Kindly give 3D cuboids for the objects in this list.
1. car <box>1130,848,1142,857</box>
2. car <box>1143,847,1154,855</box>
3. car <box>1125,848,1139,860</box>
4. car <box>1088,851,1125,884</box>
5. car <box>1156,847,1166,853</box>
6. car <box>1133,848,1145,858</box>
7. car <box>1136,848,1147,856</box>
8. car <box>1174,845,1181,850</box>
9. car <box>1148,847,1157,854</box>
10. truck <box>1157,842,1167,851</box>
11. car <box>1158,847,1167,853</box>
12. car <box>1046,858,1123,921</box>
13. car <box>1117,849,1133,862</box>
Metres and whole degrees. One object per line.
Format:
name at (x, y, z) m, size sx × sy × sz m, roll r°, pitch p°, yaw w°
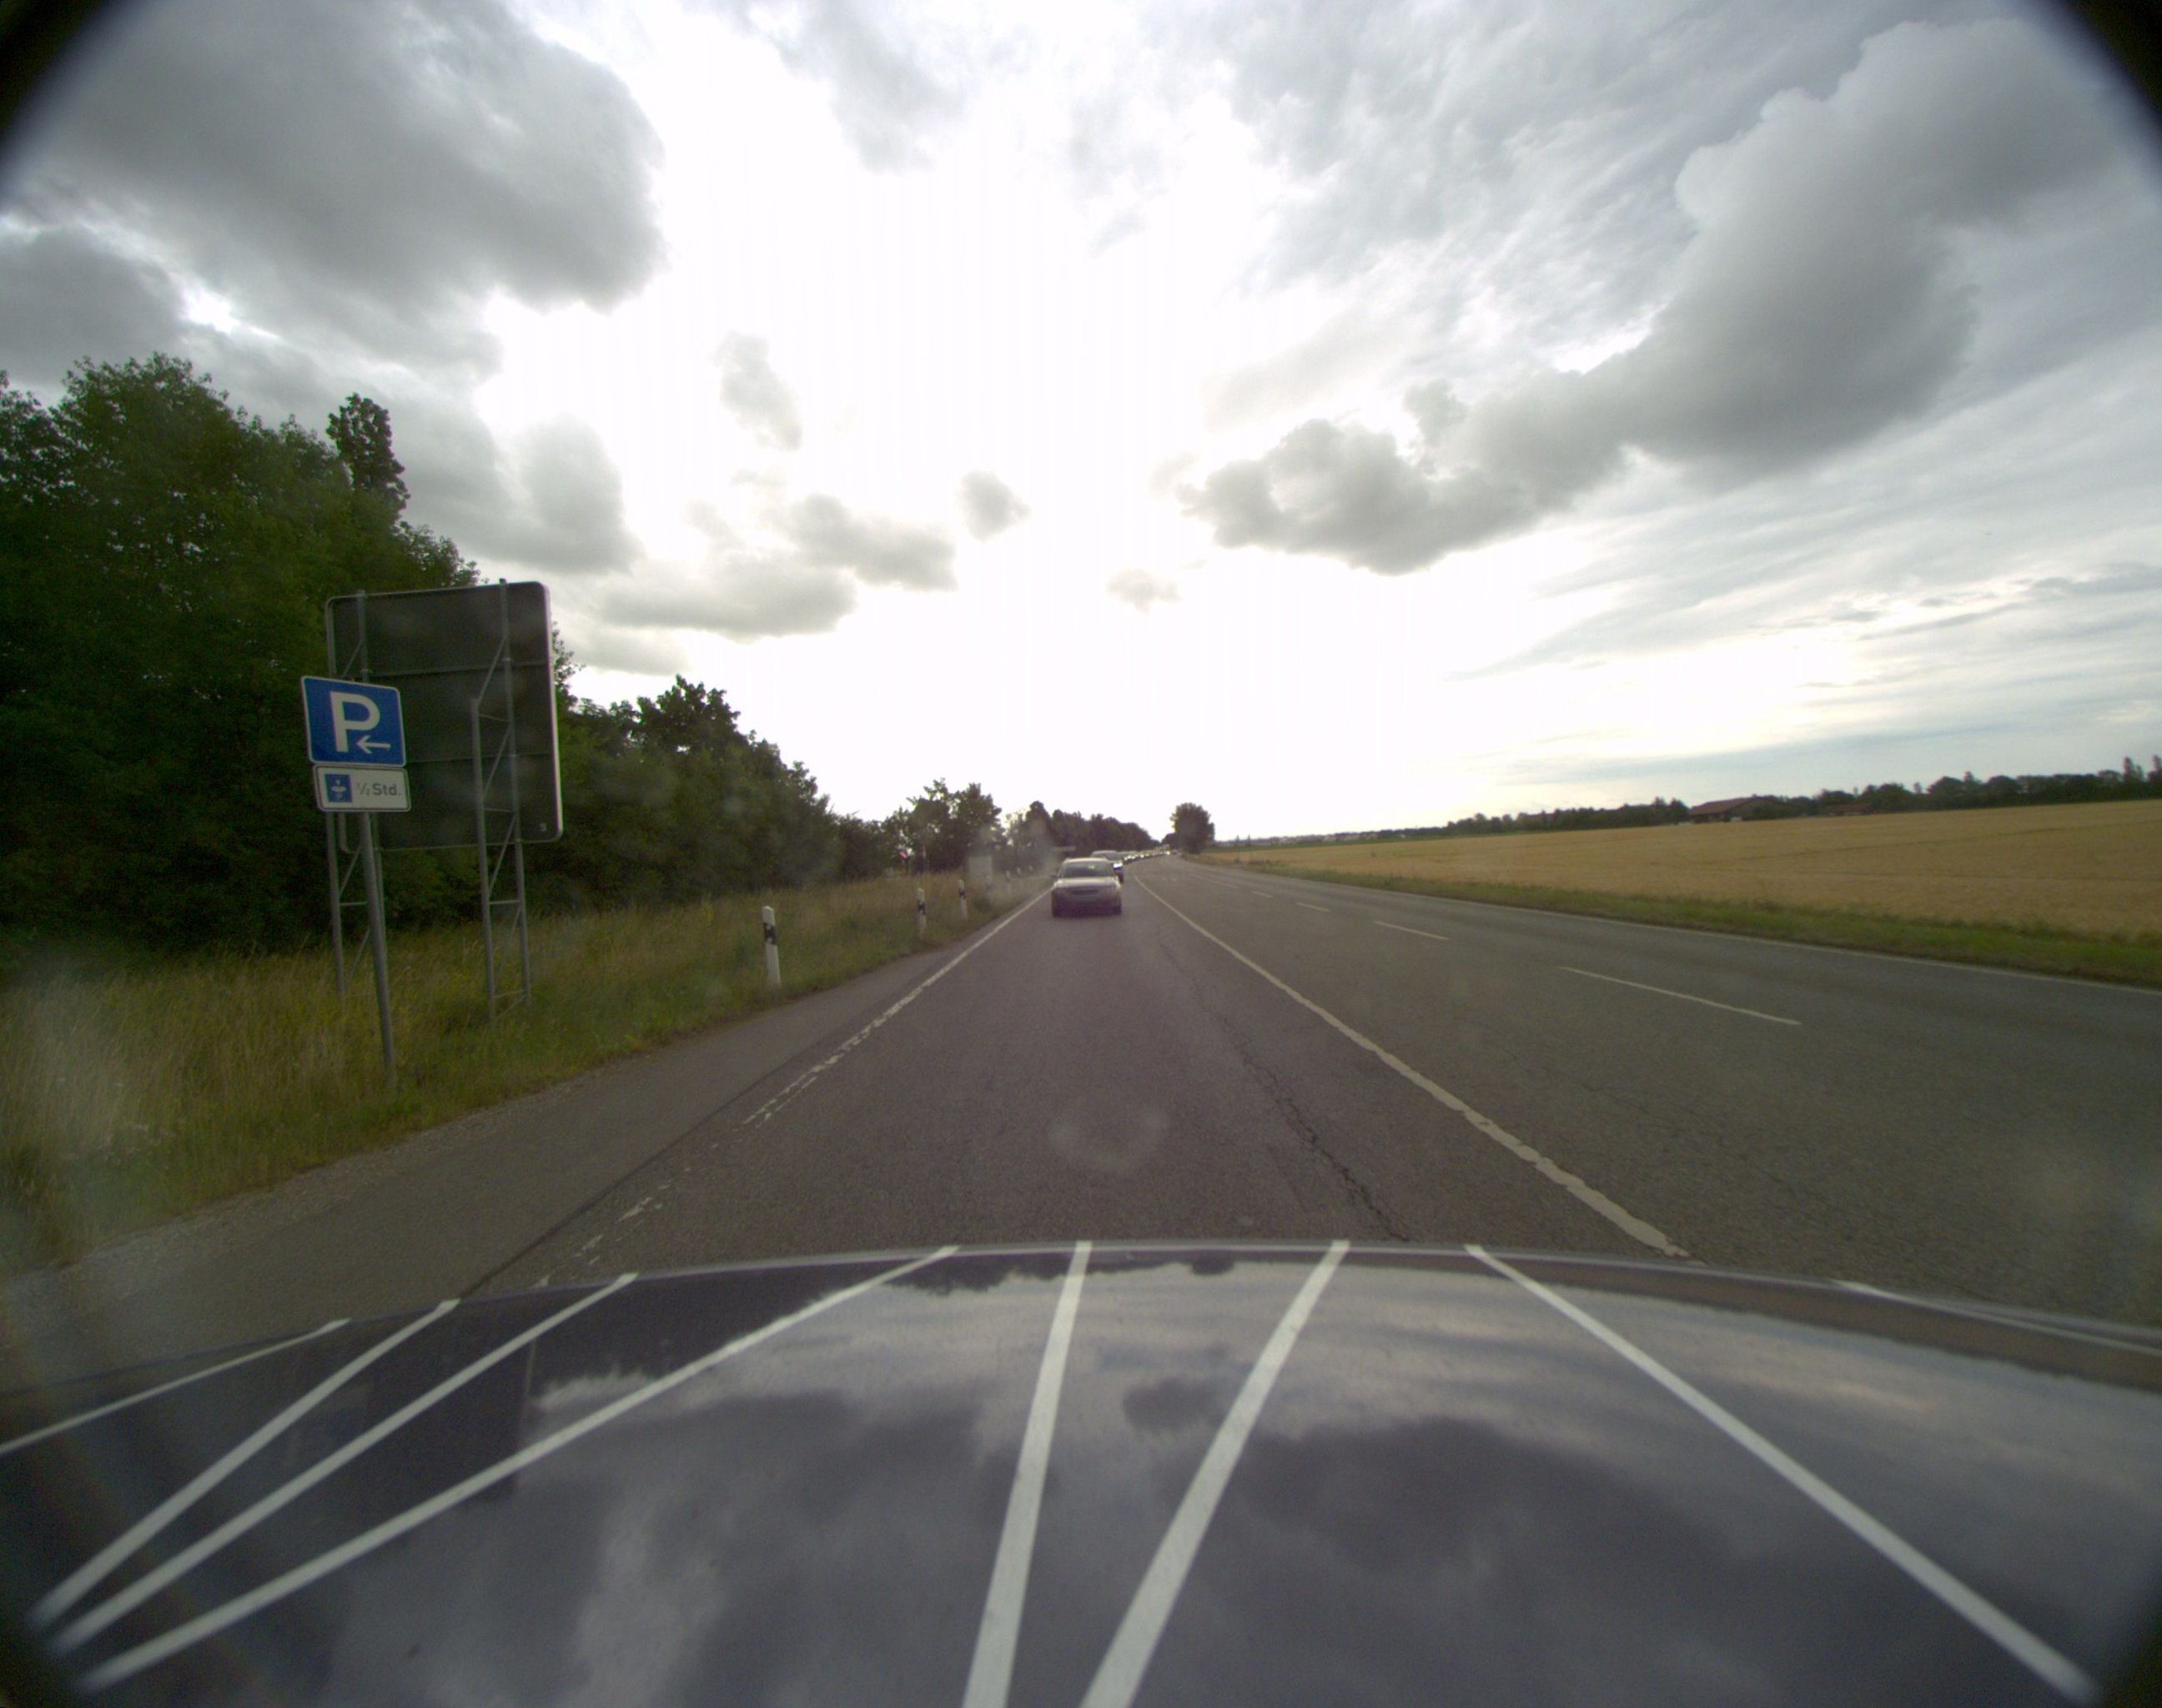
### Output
car at (9.969, -0.306, 138.271) m, size 1.793 × 1.573 × 4.139 m, roll -2°, pitch 0°, yaw 8°
car at (15.248, -0.715, 171.198) m, size 1.953 × 1.573 × 4.140 m, roll -2°, pitch 0°, yaw 12°
car at (7.422, 0.005, 111.215) m, size 1.793 × 1.573 × 4.189 m, roll -2°, pitch 0°, yaw 6°
car at (1.356, 0.664, 40.600) m, size 1.793 × 1.573 × 4.367 m, roll -2°, pitch 0°, yaw 2°
car at (21.203, -1.151, 201.166) m, size 1.792 × 1.573 × 4.140 m, roll -2°, pitch 0°, yaw 14°
car at (9.690, -0.155, 127.263) m, size 1.793 × 1.573 × 4.189 m, roll -2°, pitch 0°, yaw 6°
car at (12.011, -0.388, 151.142) m, size 1.793 × 1.573 × 4.139 m, roll -2°, pitch 0°, yaw 8°
car at (31.002, -2.180, 245.017) m, size 1.829 × 1.402 × 4.427 m, roll -2°, pitch 1°, yaw 13°
car at (17.092, -0.884, 181.301) m, size 1.792 × 1.573 × 4.140 m, roll -2°, pitch 0°, yaw 11°
truck at (25.156, -2.339, 235.745) m, size 2.318 × 2.749 × 7.678 m, roll -3°, pitch 0°, yaw 11°
car at (22.664, -1.172, 210.562) m, size 1.792 × 1.531 × 4.140 m, roll -2°, pitch 0°, yaw 13°
car at (0.143, 0.860, 20.439) m, size 1.793 × 1.415 × 4.367 m, roll -2°, pitch 0°, yaw 1°
car at (5.703, 0.207, 98.664) m, size 1.793 × 1.573 × 4.369 m, roll -2°, pitch 0°, yaw 6°
